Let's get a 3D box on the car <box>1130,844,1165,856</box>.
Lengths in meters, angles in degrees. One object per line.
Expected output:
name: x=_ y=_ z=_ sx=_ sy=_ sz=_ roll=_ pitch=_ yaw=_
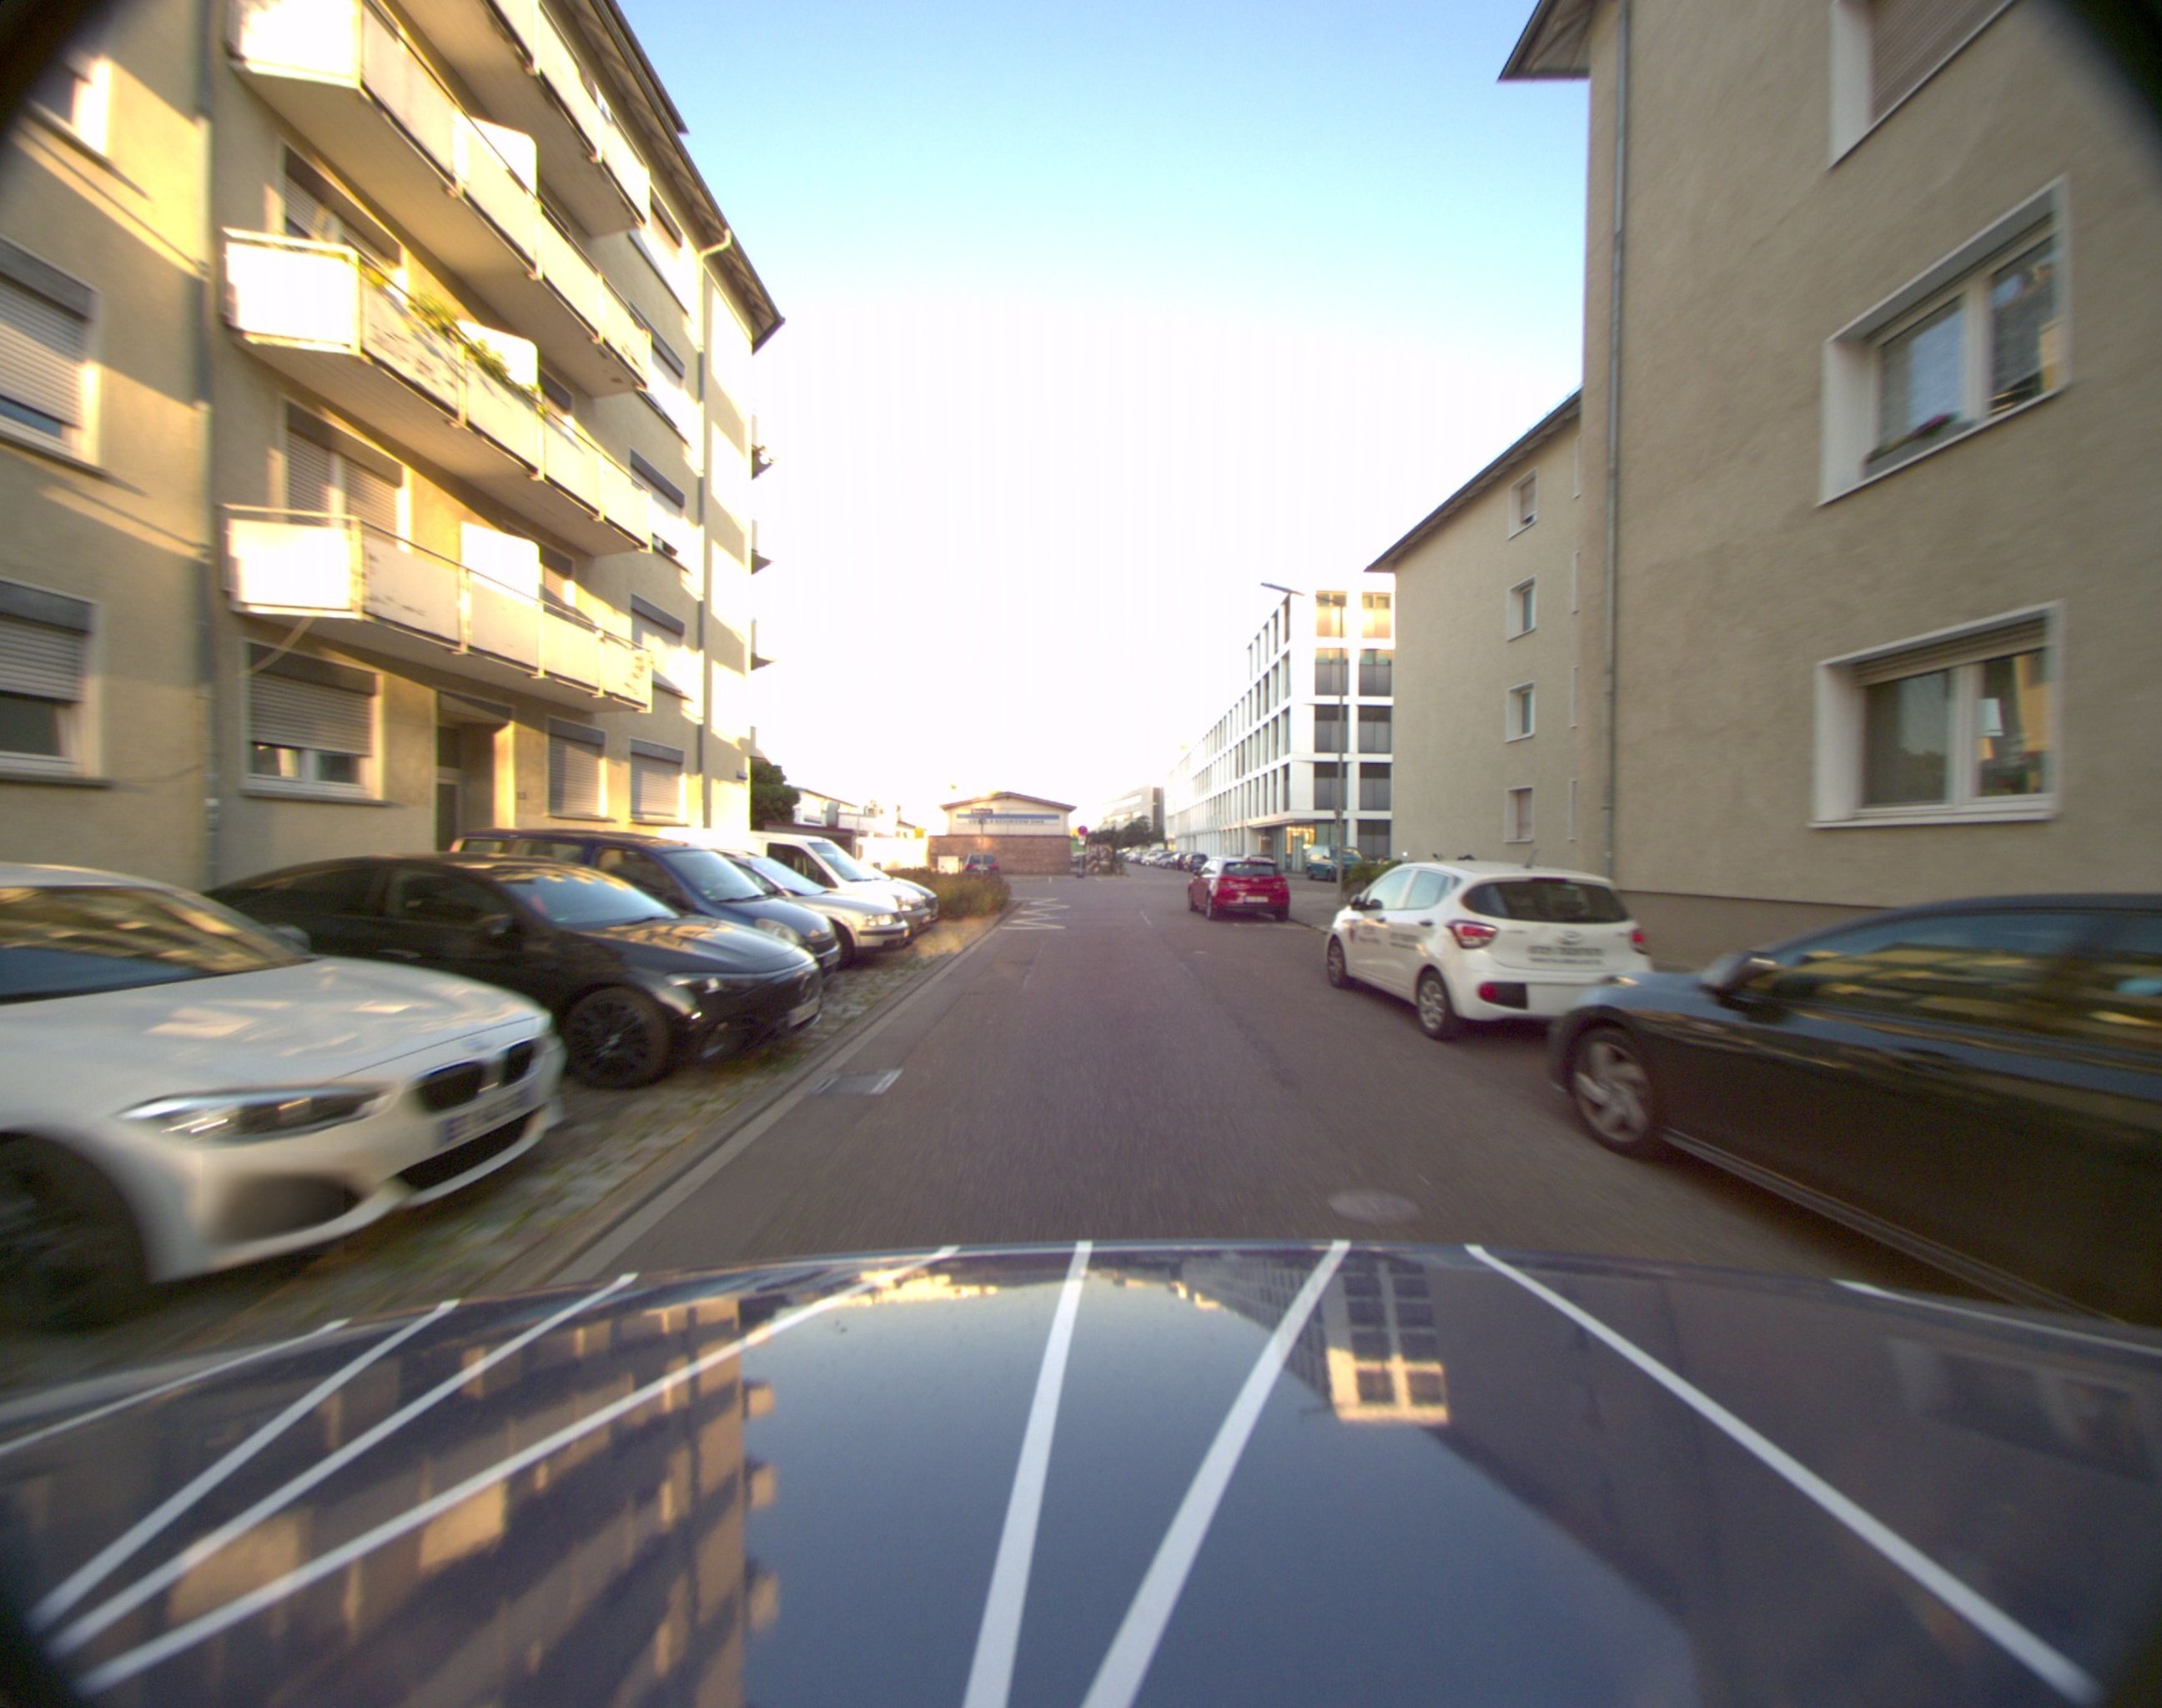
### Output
car: x=8.493 y=-0.551 z=96.750 sx=4.318 sy=1.487 sz=1.794 roll=-1 pitch=1 yaw=1

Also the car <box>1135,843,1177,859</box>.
car: x=8.378 y=-0.311 z=85.475 sx=4.629 sy=1.696 sz=2.005 roll=-1 pitch=1 yaw=3

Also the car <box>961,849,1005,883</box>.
car: x=-5.178 y=0.583 z=39.789 sx=1.833 sy=1.522 sz=4.721 roll=0 pitch=2 yaw=-13

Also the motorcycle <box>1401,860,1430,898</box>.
motorcycle: x=10.317 y=0.750 z=23.488 sx=0.724 sy=1.073 sz=2.084 roll=1 pitch=1 yaw=22

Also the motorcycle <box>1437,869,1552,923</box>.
motorcycle: x=9.012 y=0.902 z=16.642 sx=2.127 sy=1.099 sz=0.561 roll=0 pitch=1 yaw=12

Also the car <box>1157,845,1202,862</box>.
car: x=9.113 y=-0.036 z=70.343 sx=3.936 sy=1.502 sz=1.687 roll=-1 pitch=1 yaw=0

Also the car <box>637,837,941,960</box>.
car: x=-4.620 y=0.656 z=12.454 sx=4.290 sy=1.850 sz=1.741 roll=0 pitch=2 yaw=1

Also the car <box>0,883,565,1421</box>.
car: x=-4.565 y=0.897 z=3.012 sx=3.885 sy=1.408 sz=1.636 roll=2 pitch=2 yaw=-1

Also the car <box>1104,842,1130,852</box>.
car: x=7.467 y=-1.442 z=158.788 sx=5.084 sy=1.870 sz=1.888 roll=-2 pitch=1 yaw=-7

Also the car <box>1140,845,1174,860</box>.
car: x=8.294 y=-0.165 z=83.080 sx=3.675 sy=1.502 sz=1.696 roll=-1 pitch=1 yaw=3

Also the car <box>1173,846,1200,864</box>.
car: x=9.250 y=0.090 z=66.750 sx=1.652 sy=1.430 sz=4.200 roll=-3 pitch=1 yaw=-1

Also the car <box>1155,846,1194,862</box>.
car: x=9.325 y=-0.037 z=75.688 sx=3.664 sy=1.502 sz=1.687 roll=-1 pitch=1 yaw=0

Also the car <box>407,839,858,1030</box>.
car: x=-4.536 y=0.750 z=8.068 sx=3.800 sy=1.686 sz=1.655 roll=2 pitch=2 yaw=1

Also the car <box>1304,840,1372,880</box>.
car: x=13.620 y=0.243 z=40.533 sx=1.803 sy=1.969 sz=4.686 roll=0 pitch=2 yaw=-3

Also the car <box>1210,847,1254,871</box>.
car: x=10.091 y=0.307 z=51.167 sx=1.715 sy=1.470 sz=4.182 roll=-3 pitch=1 yaw=-5

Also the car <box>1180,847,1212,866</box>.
car: x=9.158 y=0.175 z=60.686 sx=1.652 sy=1.430 sz=4.182 roll=-3 pitch=1 yaw=-3

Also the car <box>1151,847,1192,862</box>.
car: x=9.264 y=0.027 z=78.081 sx=3.974 sy=1.502 sz=1.796 roll=-1 pitch=1 yaw=1

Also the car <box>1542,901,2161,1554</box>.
car: x=3.519 y=1.036 z=2.340 sx=1.663 sy=1.426 sz=4.030 roll=2 pitch=1 yaw=-1

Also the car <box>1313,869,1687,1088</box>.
car: x=3.657 y=0.970 z=7.412 sx=1.620 sy=1.465 sz=3.504 roll=2 pitch=1 yaw=-1

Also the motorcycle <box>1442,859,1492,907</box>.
motorcycle: x=10.836 y=0.785 z=21.410 sx=0.724 sy=1.257 sz=2.082 roll=0 pitch=1 yaw=11

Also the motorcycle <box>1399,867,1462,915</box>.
motorcycle: x=8.622 y=0.886 z=18.852 sx=0.683 sy=1.073 sz=2.034 roll=0 pitch=1 yaw=2

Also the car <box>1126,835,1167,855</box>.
car: x=8.964 y=-1.185 z=104.013 sx=5.394 sy=2.617 sz=2.078 roll=-1 pitch=1 yaw=0

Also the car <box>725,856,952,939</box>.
car: x=-4.635 y=0.809 z=14.941 sx=3.882 sy=1.484 sz=1.741 roll=0 pitch=1 yaw=1

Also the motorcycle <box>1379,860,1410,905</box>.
motorcycle: x=8.753 y=0.766 z=21.191 sx=0.689 sy=1.154 sz=2.037 roll=1 pitch=1 yaw=25

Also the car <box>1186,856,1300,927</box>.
car: x=3.791 y=0.812 z=18.486 sx=1.850 sy=1.465 sz=4.077 roll=0 pitch=1 yaw=-1

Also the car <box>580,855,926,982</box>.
car: x=-4.284 y=0.808 z=10.359 sx=3.965 sy=1.513 sz=1.706 roll=1 pitch=1 yaw=1

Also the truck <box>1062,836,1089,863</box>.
truck: x=-0.528 y=-0.355 z=66.081 sx=2.103 sy=2.187 sz=5.710 roll=1 pitch=0 yaw=-3

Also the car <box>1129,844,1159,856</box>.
car: x=8.196 y=-0.556 z=99.475 sx=3.717 sy=1.487 sz=1.707 roll=-1 pitch=1 yaw=-1

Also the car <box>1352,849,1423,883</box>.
car: x=16.100 y=0.576 z=40.150 sx=1.784 sy=1.541 sz=4.328 roll=0 pitch=3 yaw=-2

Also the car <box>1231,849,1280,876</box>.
car: x=10.342 y=0.490 z=45.337 sx=1.784 sy=1.470 sz=4.329 roll=-1 pitch=1 yaw=-2

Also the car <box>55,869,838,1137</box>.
car: x=-4.209 y=0.932 z=5.525 sx=4.319 sy=1.441 sz=1.655 roll=2 pitch=2 yaw=1

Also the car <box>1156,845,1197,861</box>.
car: x=9.212 y=-0.070 z=73.388 sx=3.664 sy=1.502 sz=1.687 roll=-1 pitch=1 yaw=0
